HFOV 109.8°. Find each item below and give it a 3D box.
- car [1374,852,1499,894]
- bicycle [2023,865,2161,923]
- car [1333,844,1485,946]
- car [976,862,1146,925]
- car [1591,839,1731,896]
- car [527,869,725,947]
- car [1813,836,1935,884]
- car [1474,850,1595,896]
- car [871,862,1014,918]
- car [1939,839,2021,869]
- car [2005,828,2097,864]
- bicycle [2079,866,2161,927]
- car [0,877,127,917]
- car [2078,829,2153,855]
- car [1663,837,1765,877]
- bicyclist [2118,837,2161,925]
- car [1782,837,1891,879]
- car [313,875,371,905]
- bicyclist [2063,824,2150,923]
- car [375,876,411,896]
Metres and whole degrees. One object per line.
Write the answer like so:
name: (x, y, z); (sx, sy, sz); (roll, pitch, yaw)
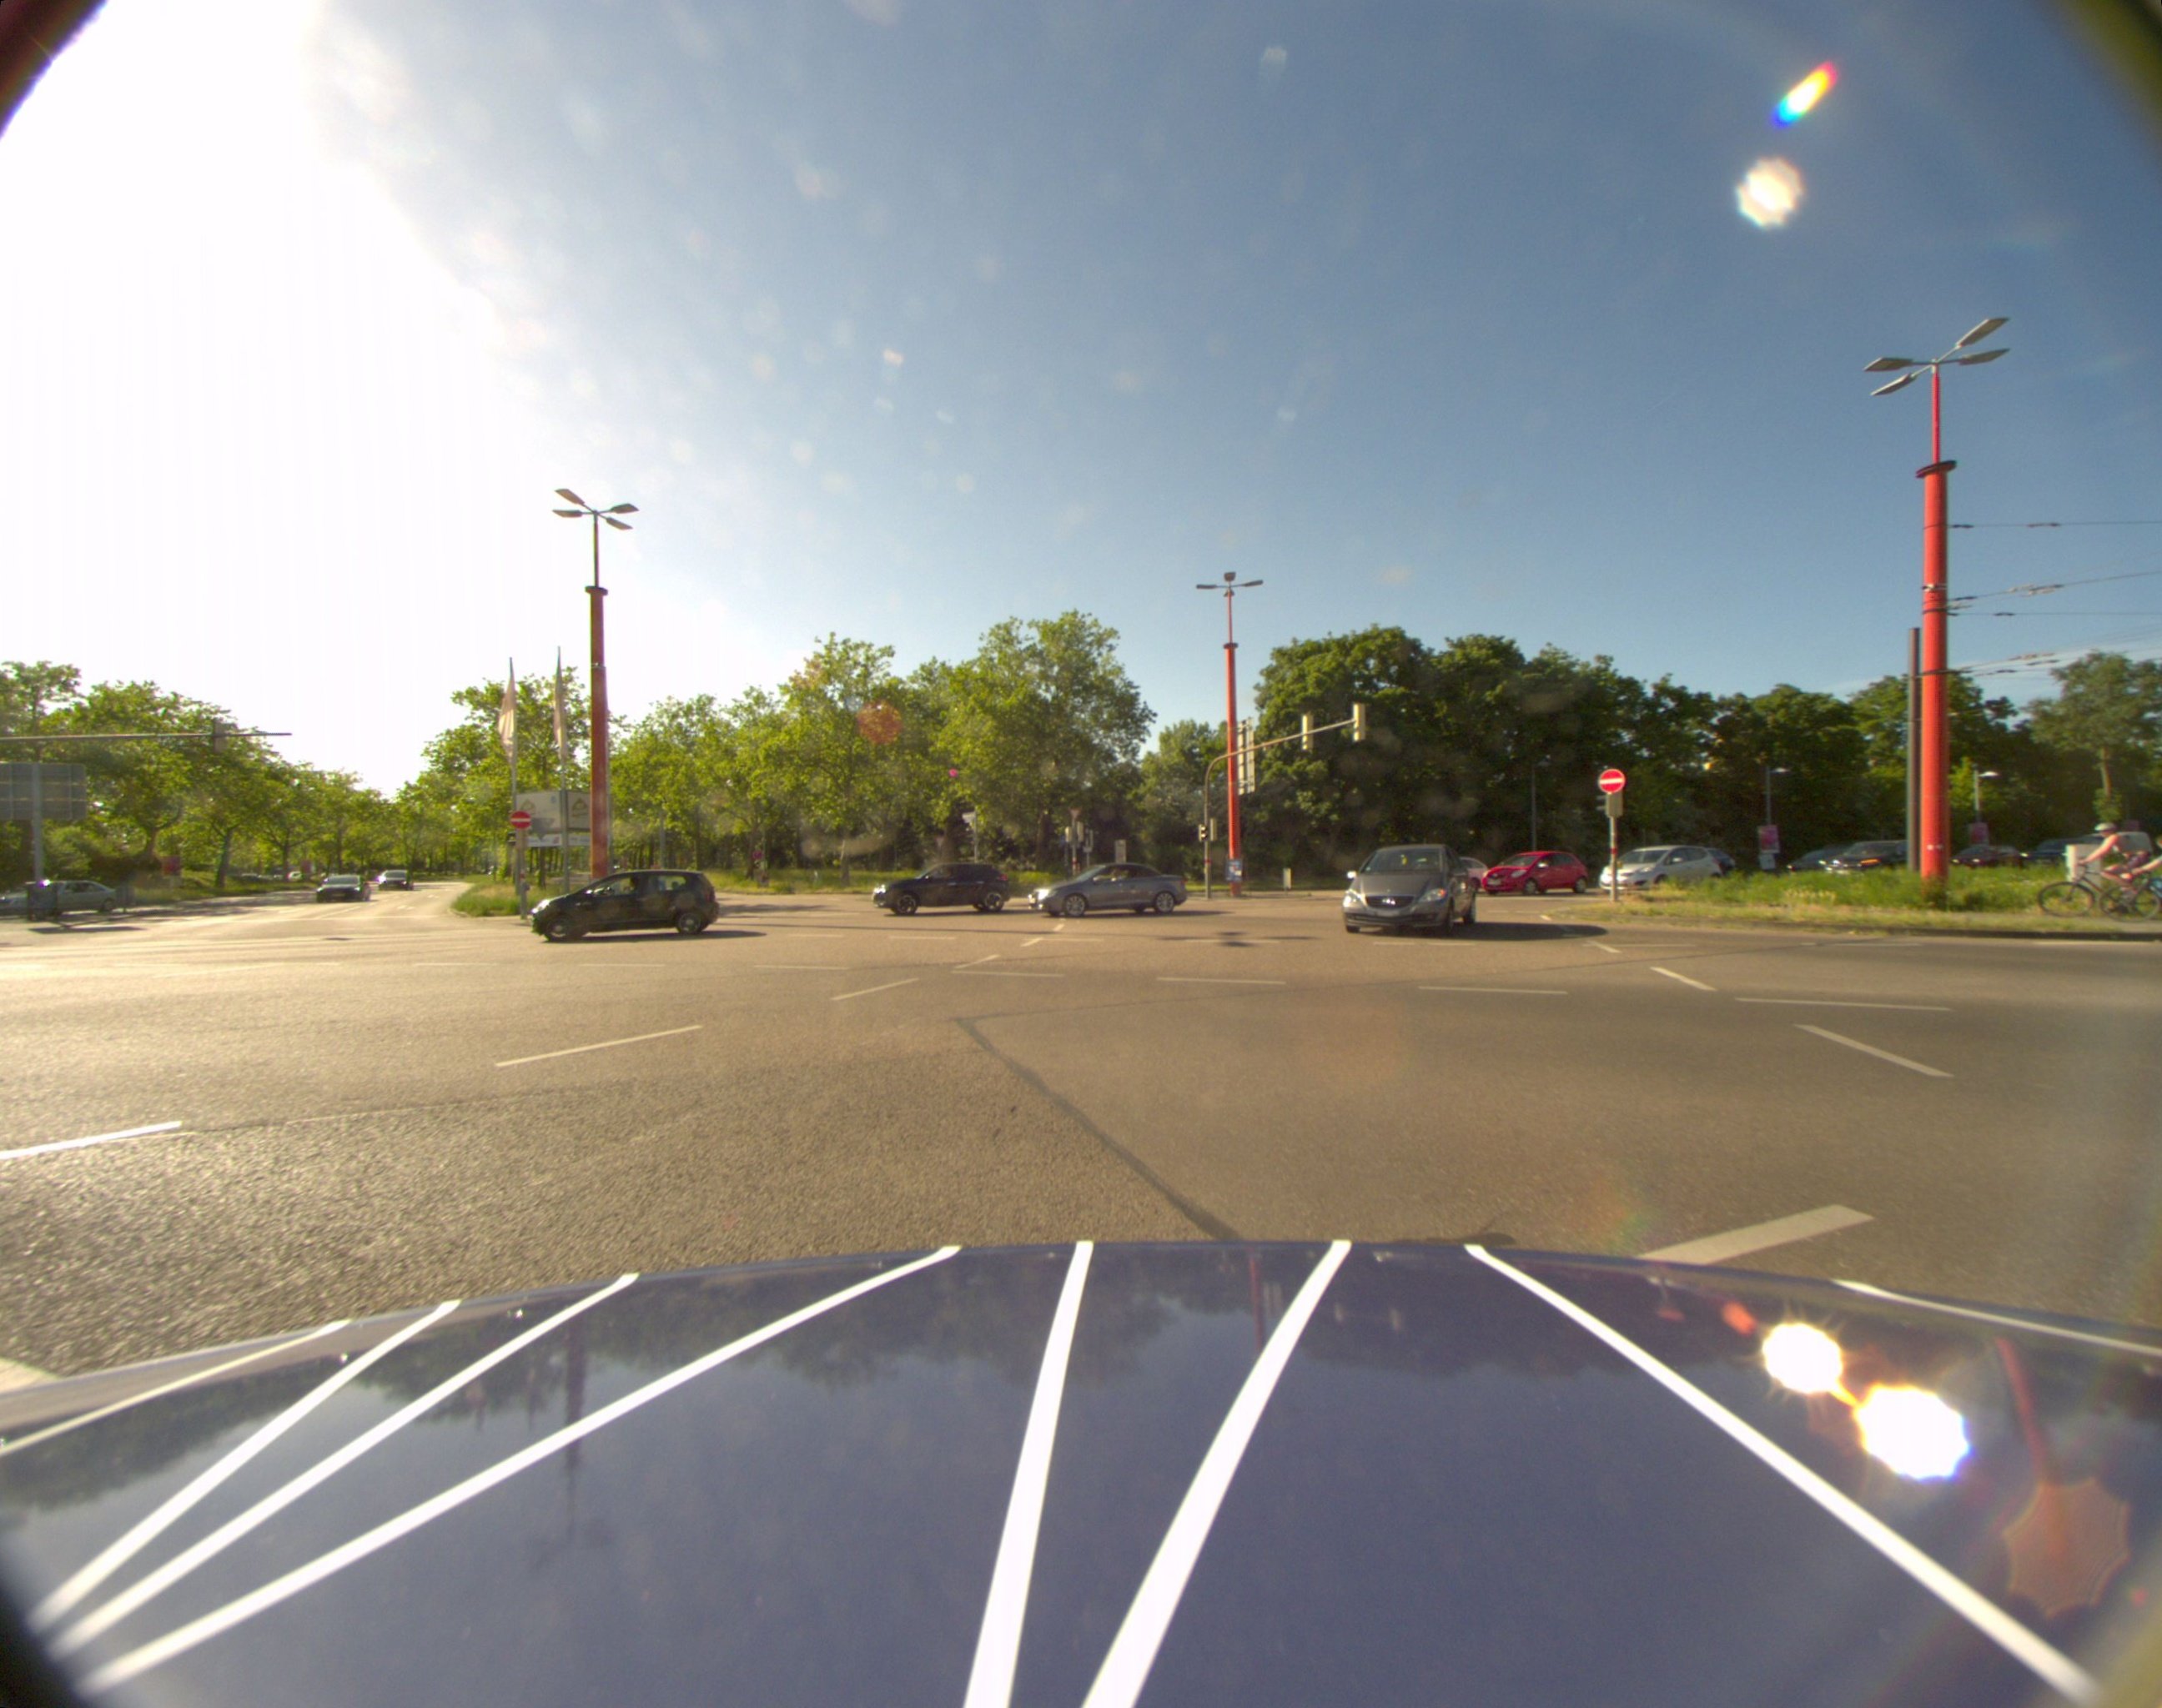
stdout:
car: (13.722, 0.702, 29.374); (4.390, 1.427, 1.747); (-2, -1, -20)
bicycle: (20.007, 0.764, 14.874); (0.580, 1.065, 1.911); (-2, 0, -33)
car: (6.287, 0.669, 14.305); (1.745, 1.630, 4.008); (-1, -1, 36)
car: (-0.549, 1.005, 20.285); (4.175, 1.430, 1.712); (-2, 0, -20)
car: (19.047, 0.424, 24.955); (4.004, 1.652, 1.747); (-2, -1, -21)
car: (-9.809, 1.116, 16.673); (3.456, 1.485, 1.620); (-1, -1, -21)
car: (30.092, 0.207, 28.838); (4.004, 1.652, 1.747); (-1, 0, -21)
car: (16.074, 0.659, 26.939); (3.730, 1.437, 1.684); (-2, -1, -21)
car: (-4.194, 1.044, 22.948); (3.967, 1.485, 1.712); (-2, 0, -20)
car: (49.483, -0.009, 41.817); (3.899, 1.520, 1.651); (-2, -1, -21)
car: (49.776, -0.405, 39.001); (4.004, 1.652, 1.747); (-2, -1, -21)
bicycle: (19.585, 0.769, 13.668); (0.581, 1.065, 1.910); (-2, 2, -42)
car: (-41.819, 1.724, 30.926); (1.868, 1.508, 4.131); (-2, -1, -21)
car: (64.127, -0.741, 47.086); (3.967, 1.485, 1.712); (-2, 0, -20)
car: (28.634, 0.129, 34.355); (4.004, 1.652, 1.747); (-2, -1, -21)
bicyclist: (19.564, 0.475, 13.695); (0.721, 1.517, 0.921); (-8, 3, -42)
car: (32.287, 0.167, 32.478); (4.004, 1.652, 1.747); (-2, -1, -21)
car: (-40.826, 1.934, 42.053); (1.777, 1.499, 4.214); (-1, 0, -38)
bicyclist: (20.039, 0.373, 14.848); (0.894, 1.856, 0.922); (-2, -1, -34)
car: (-57.430, 2.665, 63.462); (1.777, 1.499, 4.215); (-2, -1, -37)
